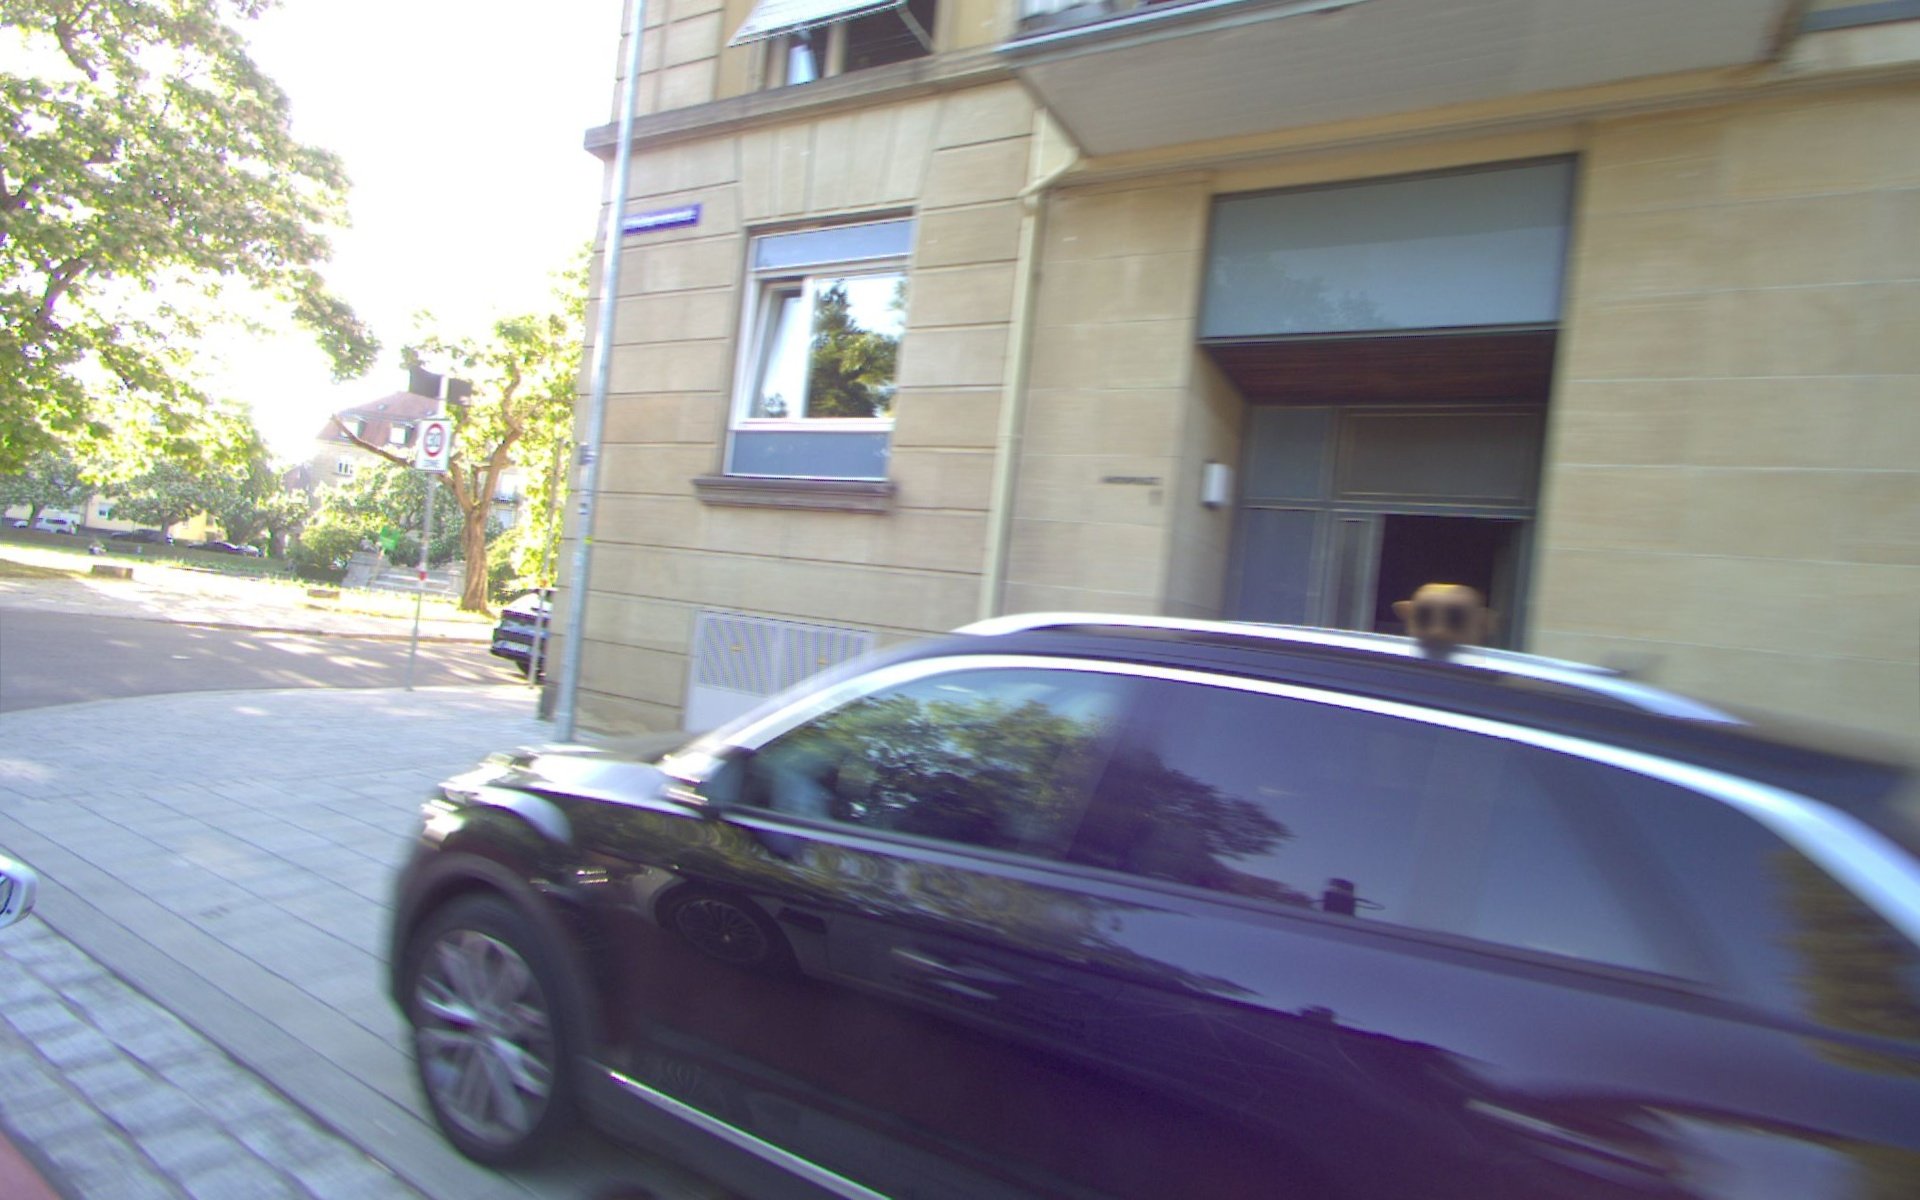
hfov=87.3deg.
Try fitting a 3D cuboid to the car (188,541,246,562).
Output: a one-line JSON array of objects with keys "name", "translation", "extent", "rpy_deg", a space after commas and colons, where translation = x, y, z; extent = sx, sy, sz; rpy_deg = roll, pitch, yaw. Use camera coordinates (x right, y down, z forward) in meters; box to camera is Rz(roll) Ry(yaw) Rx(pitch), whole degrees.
[{"name": "car", "translation": [-75.299, -4.883, 101.998], "extent": [4.292, 1.470, 1.879], "rpy_deg": [6, -1, -8]}]

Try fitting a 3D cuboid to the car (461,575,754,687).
[{"name": "car", "translation": [-5.547, 0.586, 16.519], "extent": [1.901, 1.435, 4.452], "rpy_deg": [5, -2, 24]}]

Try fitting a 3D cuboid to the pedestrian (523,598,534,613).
[{"name": "pedestrian", "translation": [-27.765, 0.372, 64.703], "extent": [0.570, 0.891, 0.674], "rpy_deg": [7, -2, -22]}]

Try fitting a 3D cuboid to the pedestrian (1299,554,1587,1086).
[{"name": "pedestrian", "translation": [1.860, 0.803, 3.968], "extent": [0.546, 1.851, 0.731], "rpy_deg": [7, -1, -6]}]

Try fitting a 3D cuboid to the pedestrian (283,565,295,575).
[{"name": "pedestrian", "translation": [-61.713, -2.747, 92.559], "extent": [0.655, 0.803, 0.587], "rpy_deg": [6, -1, 19]}]

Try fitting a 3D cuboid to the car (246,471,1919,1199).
[{"name": "car", "translation": [0.238, 0.698, 2.605], "extent": [4.275, 1.647, 1.705], "rpy_deg": [7, 1, 30]}]

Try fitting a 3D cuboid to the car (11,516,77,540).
[{"name": "car", "translation": [-92.556, -7.239, 101.706], "extent": [4.469, 1.766, 1.870], "rpy_deg": [7, -1, -26]}]
